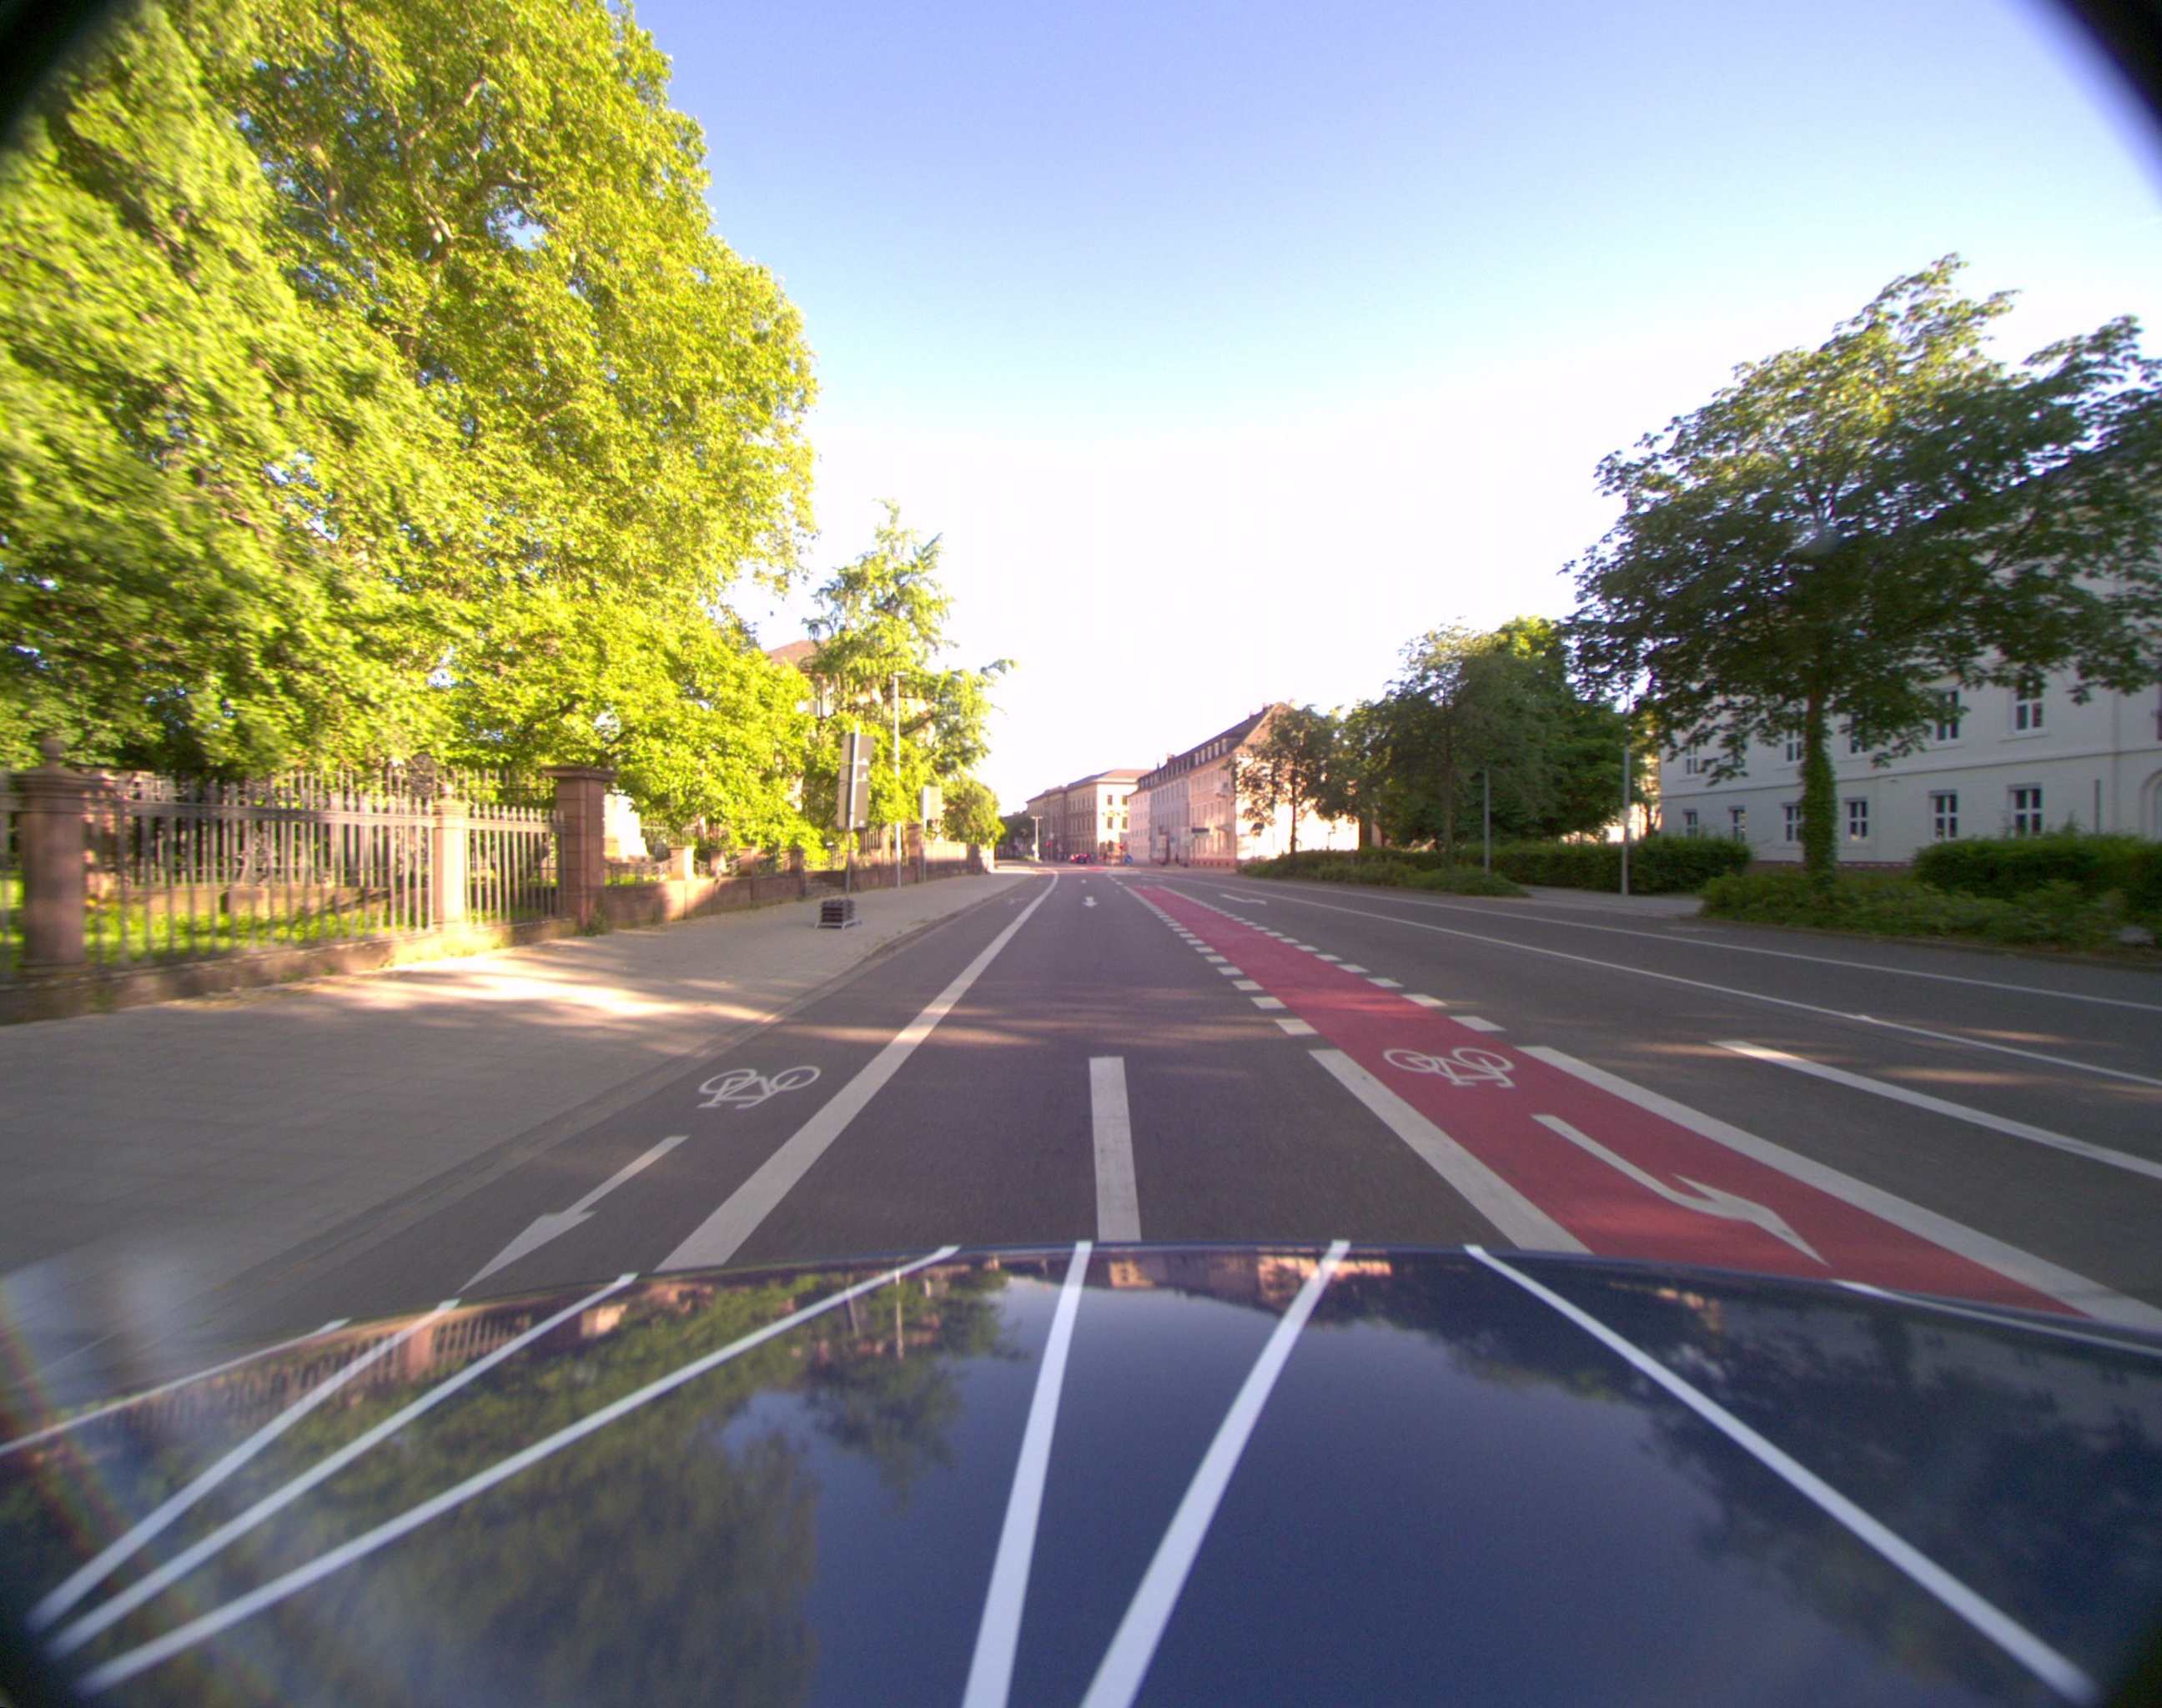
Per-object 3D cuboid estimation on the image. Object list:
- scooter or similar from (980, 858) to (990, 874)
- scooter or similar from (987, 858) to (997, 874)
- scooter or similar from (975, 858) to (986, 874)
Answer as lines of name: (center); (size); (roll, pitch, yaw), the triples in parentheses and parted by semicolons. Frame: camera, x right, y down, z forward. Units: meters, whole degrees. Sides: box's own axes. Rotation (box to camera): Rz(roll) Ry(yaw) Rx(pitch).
scooter or similar: (-6.532, 0.784, 51.648); (0.416, 1.035, 1.779); (-2, 1, 1)
scooter or similar: (-6.047, 0.820, 51.569); (0.416, 1.035, 1.779); (-2, 1, 1)
scooter or similar: (-6.529, 0.774, 49.396); (0.416, 1.035, 1.779); (-2, 1, 1)
